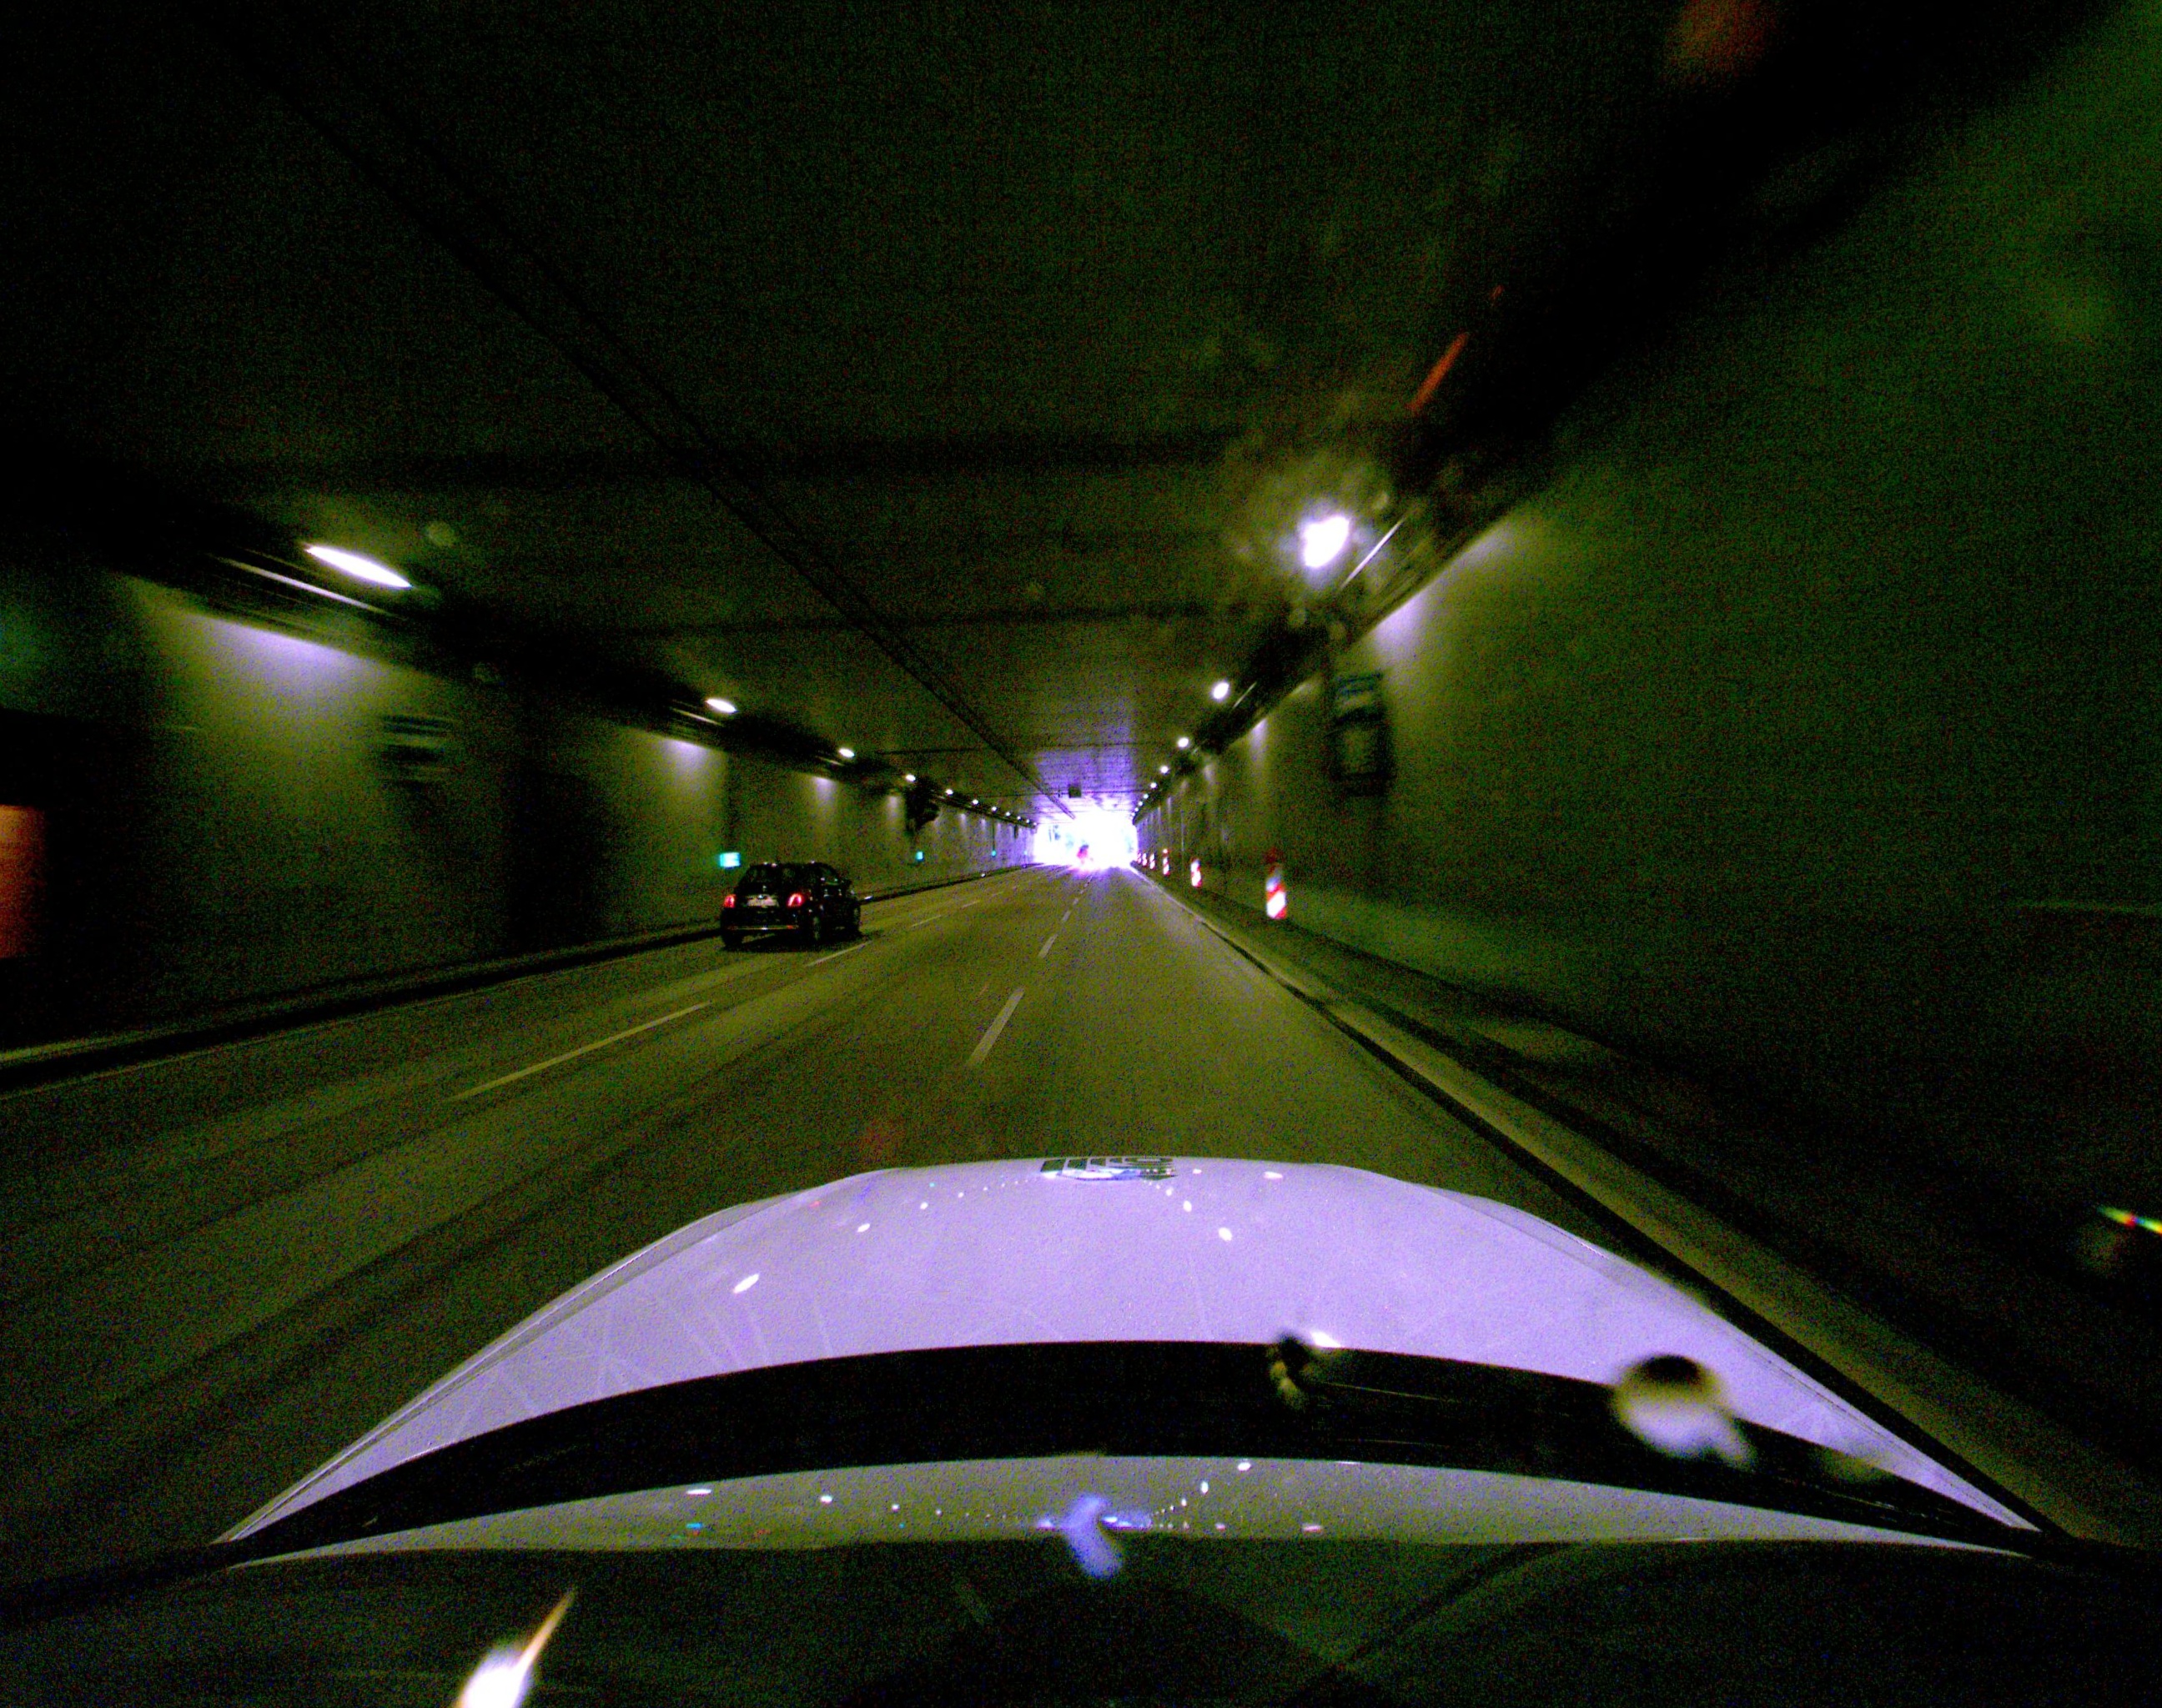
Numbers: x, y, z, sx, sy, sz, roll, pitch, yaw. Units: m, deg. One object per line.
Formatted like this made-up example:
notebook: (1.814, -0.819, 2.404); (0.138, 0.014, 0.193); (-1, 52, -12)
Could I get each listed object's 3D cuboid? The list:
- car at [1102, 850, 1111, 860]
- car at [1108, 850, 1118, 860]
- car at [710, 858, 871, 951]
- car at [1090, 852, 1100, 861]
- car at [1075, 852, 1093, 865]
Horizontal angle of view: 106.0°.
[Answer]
car: (5.783, 0.241, 188.611); (1.986, 2.014, 4.001); (-2, -1, 1)
car: (6.542, 0.291, 167.653); (1.986, 2.014, 4.002); (-2, -1, 2)
car: (-5.316, 0.853, 15.387); (1.606, 1.454, 3.574); (-2, 0, 2)
car: (3.112, 0.548, 182.204); (1.986, 2.014, 4.001); (-2, -1, 1)
car: (0.359, 0.553, 97.210); (1.988, 1.448, 4.312); (-1, 0, -1)
